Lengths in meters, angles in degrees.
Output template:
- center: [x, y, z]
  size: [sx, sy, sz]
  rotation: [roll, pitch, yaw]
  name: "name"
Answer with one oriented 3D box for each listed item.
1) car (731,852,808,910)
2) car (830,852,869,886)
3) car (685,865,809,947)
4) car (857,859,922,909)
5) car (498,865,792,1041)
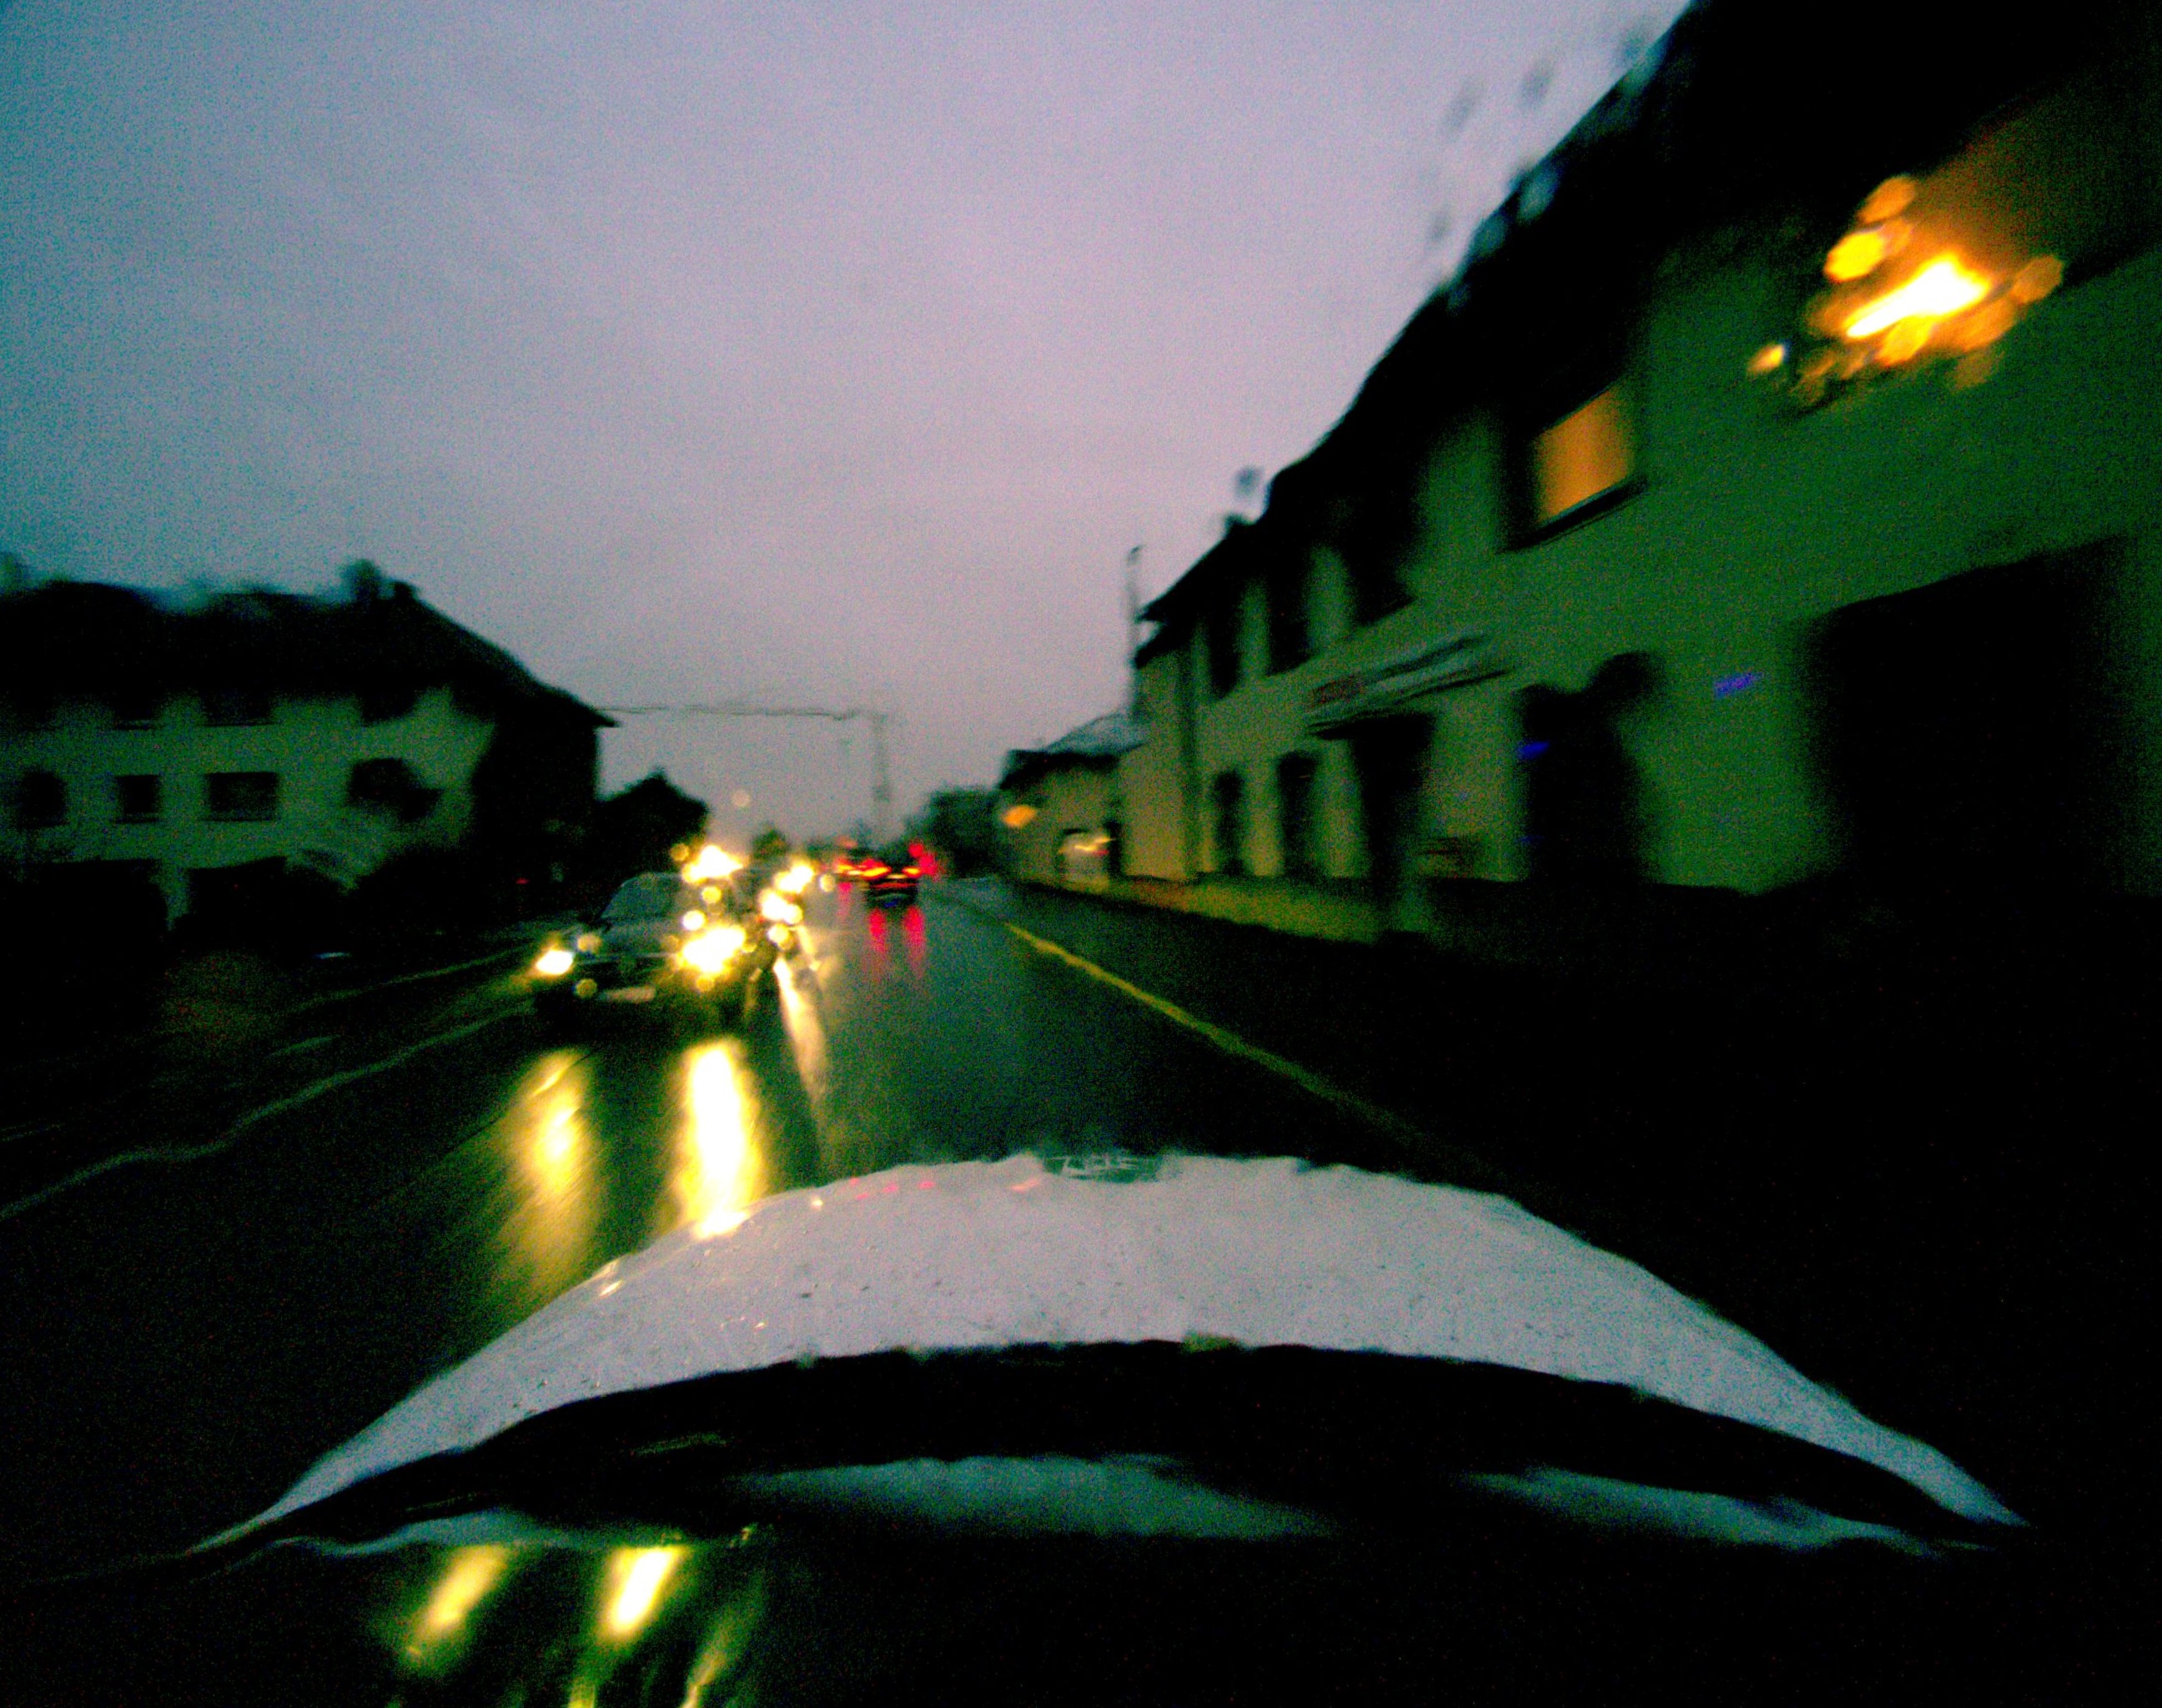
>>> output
- center: [-9.972, 0.790, 26.344]
  size: [1.880, 1.585, 4.266]
  rotation: [-3, 1, -16]
  name: "car"
- center: [-14.180, 0.875, 49.720]
  size: [2.000, 1.881, 3.975]
  rotation: [-3, 1, -18]
  name: "car"
- center: [-6.944, 0.988, 17.352]
  size: [1.828, 1.373, 4.264]
  rotation: [-3, 1, -15]
  name: "car"
- center: [-6.944, 1.035, 29.543]
  size: [2.050, 1.573, 4.681]
  rotation: [-3, 0, -14]
  name: "car"
- center: [-4.770, 0.923, 9.726]
  size: [1.882, 1.394, 4.504]
  rotation: [-3, 1, -13]
  name: "car"
